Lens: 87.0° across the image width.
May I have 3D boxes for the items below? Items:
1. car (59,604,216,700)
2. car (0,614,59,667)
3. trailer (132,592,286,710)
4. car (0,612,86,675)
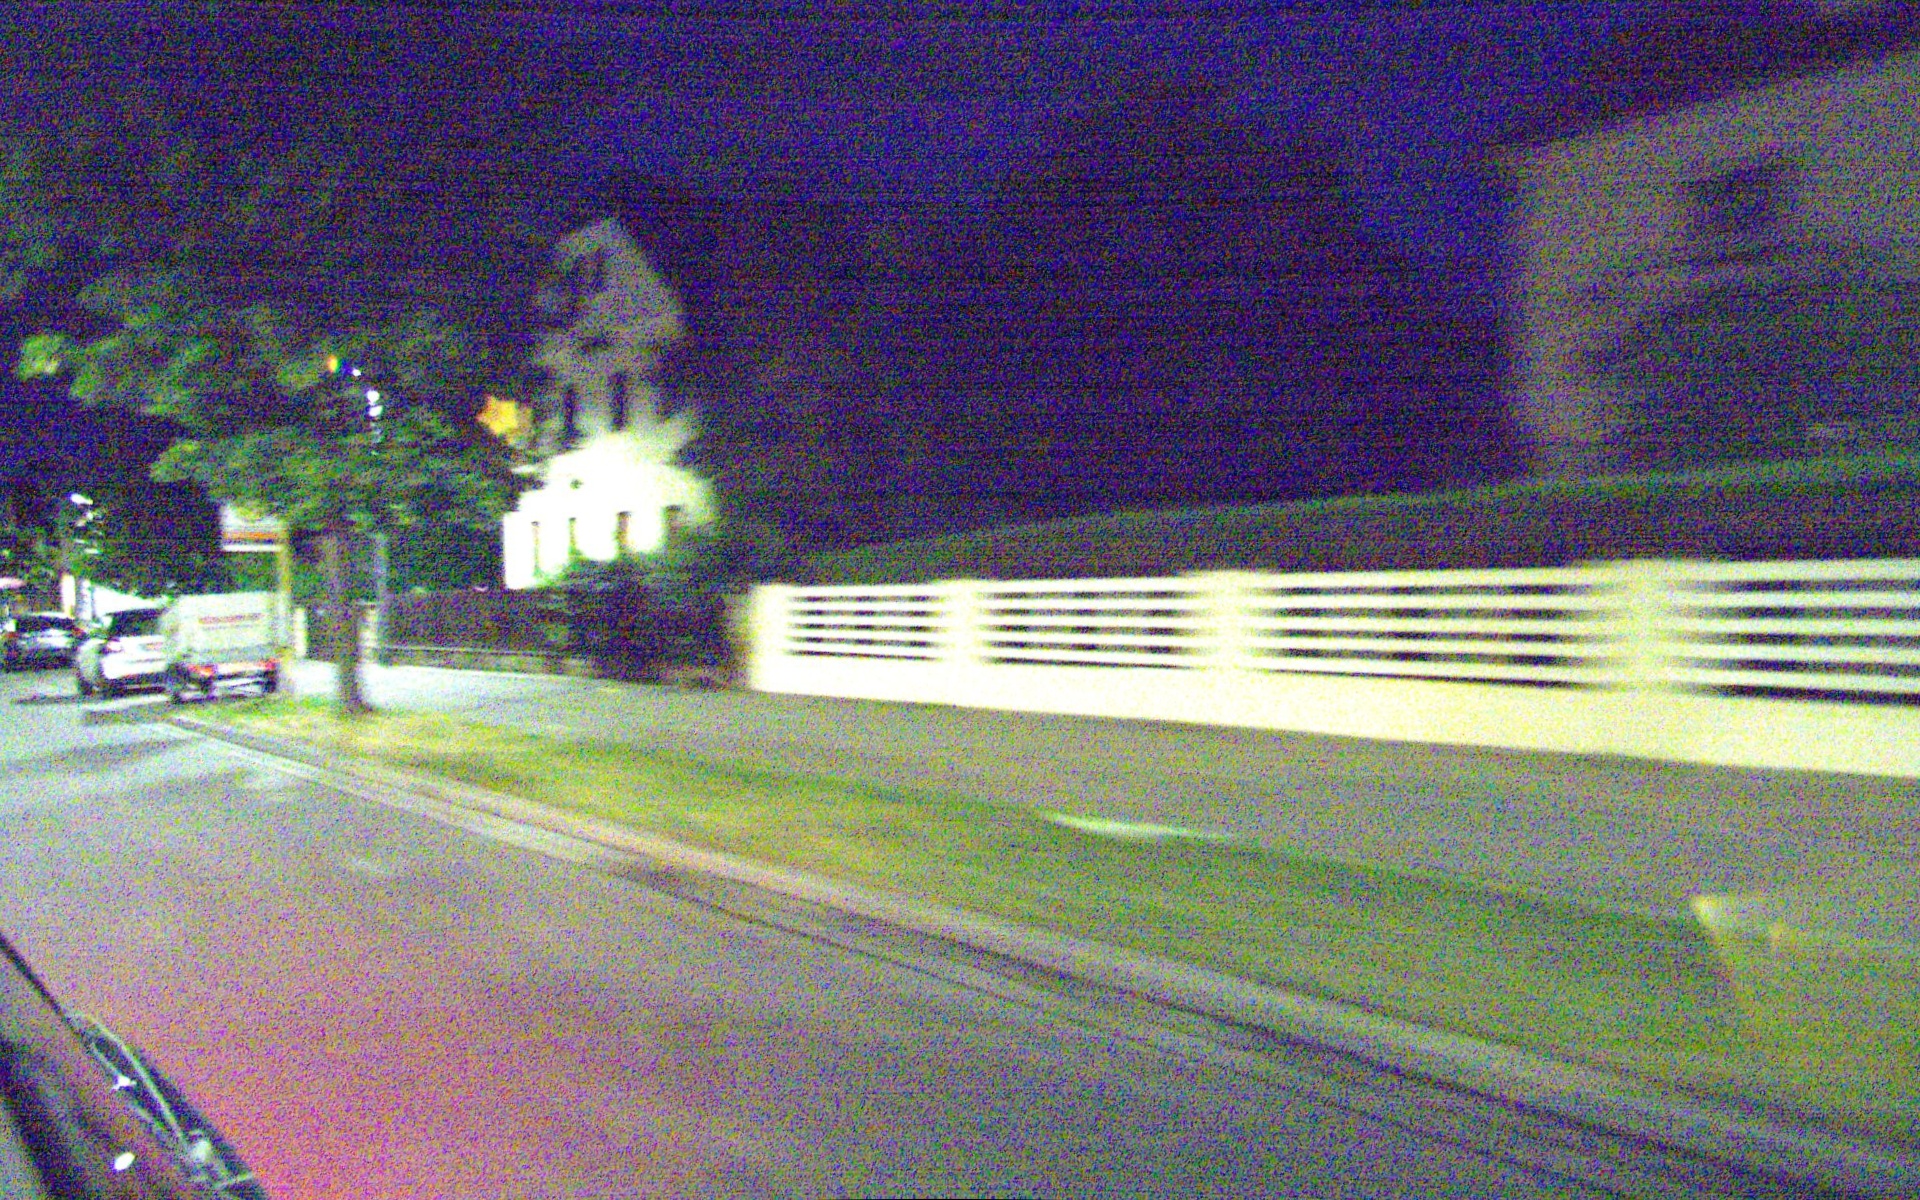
[{"bbox_3d":[-15.300,0.916,18.801,2.976,1.533,1.655,-1,2,40],"label":"car"},{"bbox_3d":[-29.818,1.252,31.858,4.277,1.522,1.670,-1,0,42],"label":"car"},{"bbox_3d":[-12.633,0.787,16.961,3.426,1.700,1.432,-1,3,44],"label":"trailer"},{"bbox_3d":[-25.640,1.152,27.871,4.276,1.530,1.748,-1,1,41],"label":"car"}]
